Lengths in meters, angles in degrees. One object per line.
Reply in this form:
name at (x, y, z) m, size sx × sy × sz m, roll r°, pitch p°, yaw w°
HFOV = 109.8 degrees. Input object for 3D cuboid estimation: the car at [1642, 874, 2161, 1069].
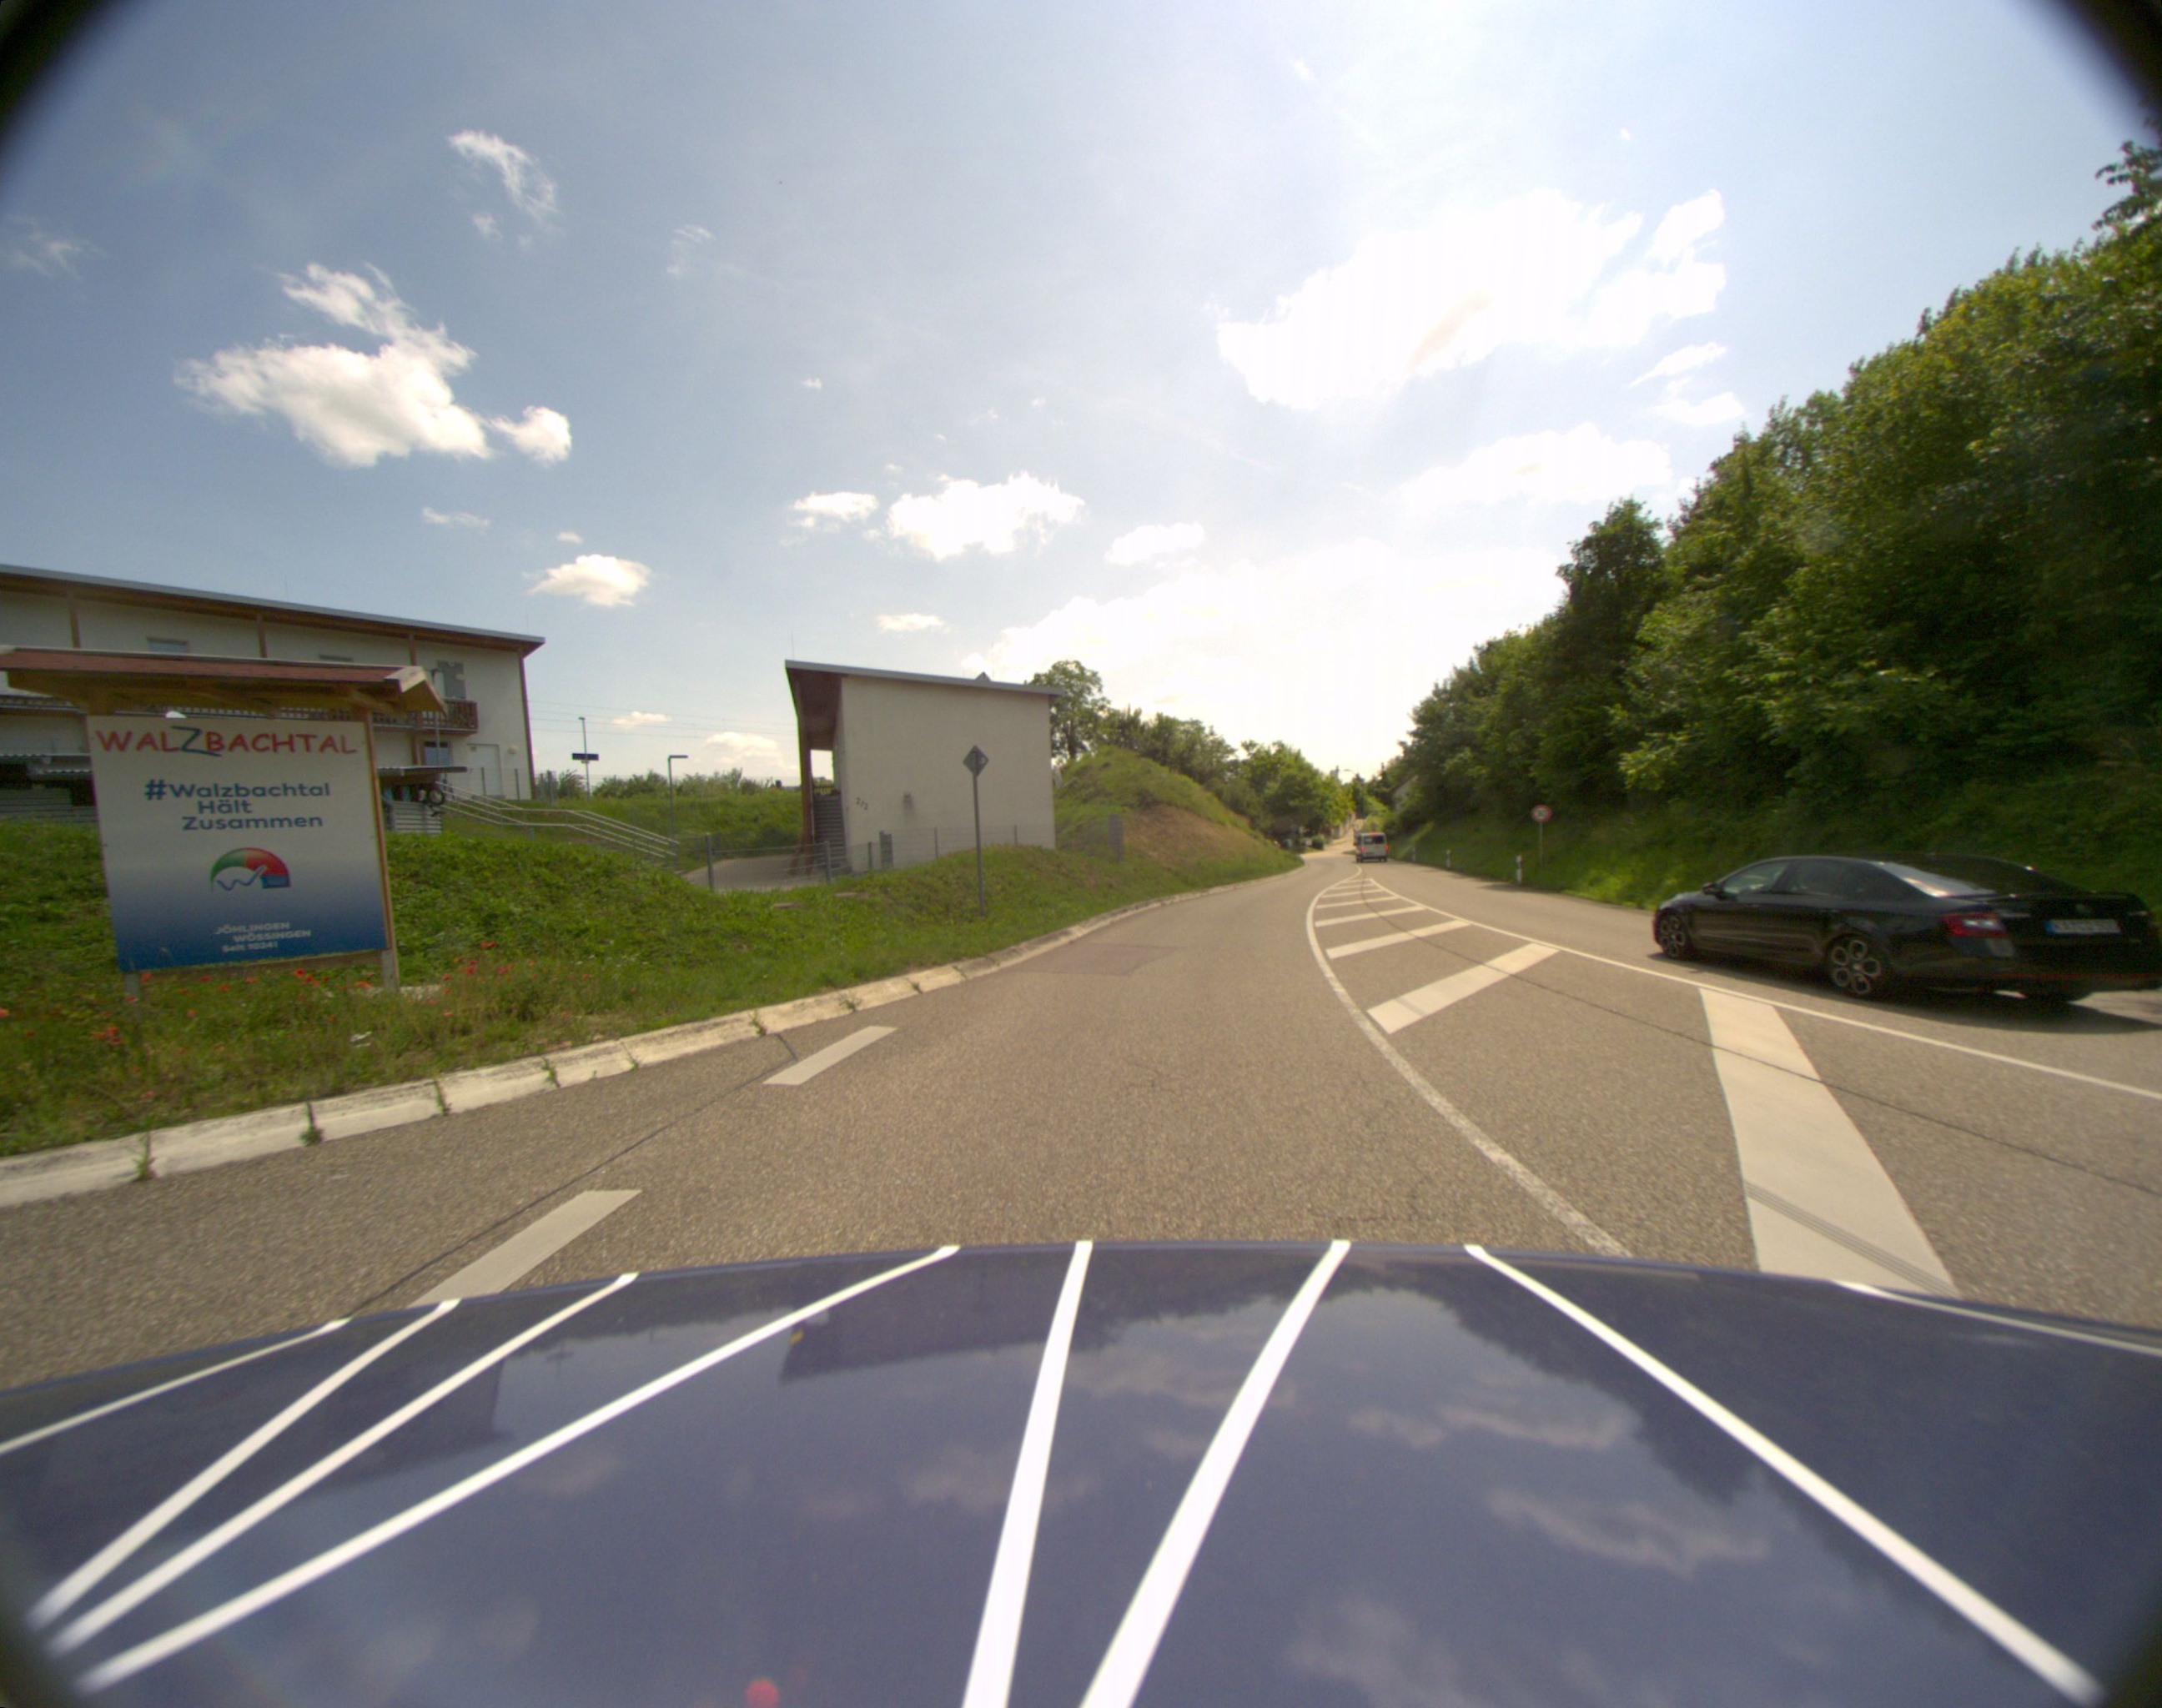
car at (8.380, 0.994, 8.207) m, size 1.688 × 1.411 × 4.346 m, roll 0°, pitch 0°, yaw 5°

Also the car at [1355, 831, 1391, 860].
car at (23.512, -0.717, 61.364) m, size 2.088 × 2.277 × 5.952 m, roll 0°, pitch 1°, yaw 15°
